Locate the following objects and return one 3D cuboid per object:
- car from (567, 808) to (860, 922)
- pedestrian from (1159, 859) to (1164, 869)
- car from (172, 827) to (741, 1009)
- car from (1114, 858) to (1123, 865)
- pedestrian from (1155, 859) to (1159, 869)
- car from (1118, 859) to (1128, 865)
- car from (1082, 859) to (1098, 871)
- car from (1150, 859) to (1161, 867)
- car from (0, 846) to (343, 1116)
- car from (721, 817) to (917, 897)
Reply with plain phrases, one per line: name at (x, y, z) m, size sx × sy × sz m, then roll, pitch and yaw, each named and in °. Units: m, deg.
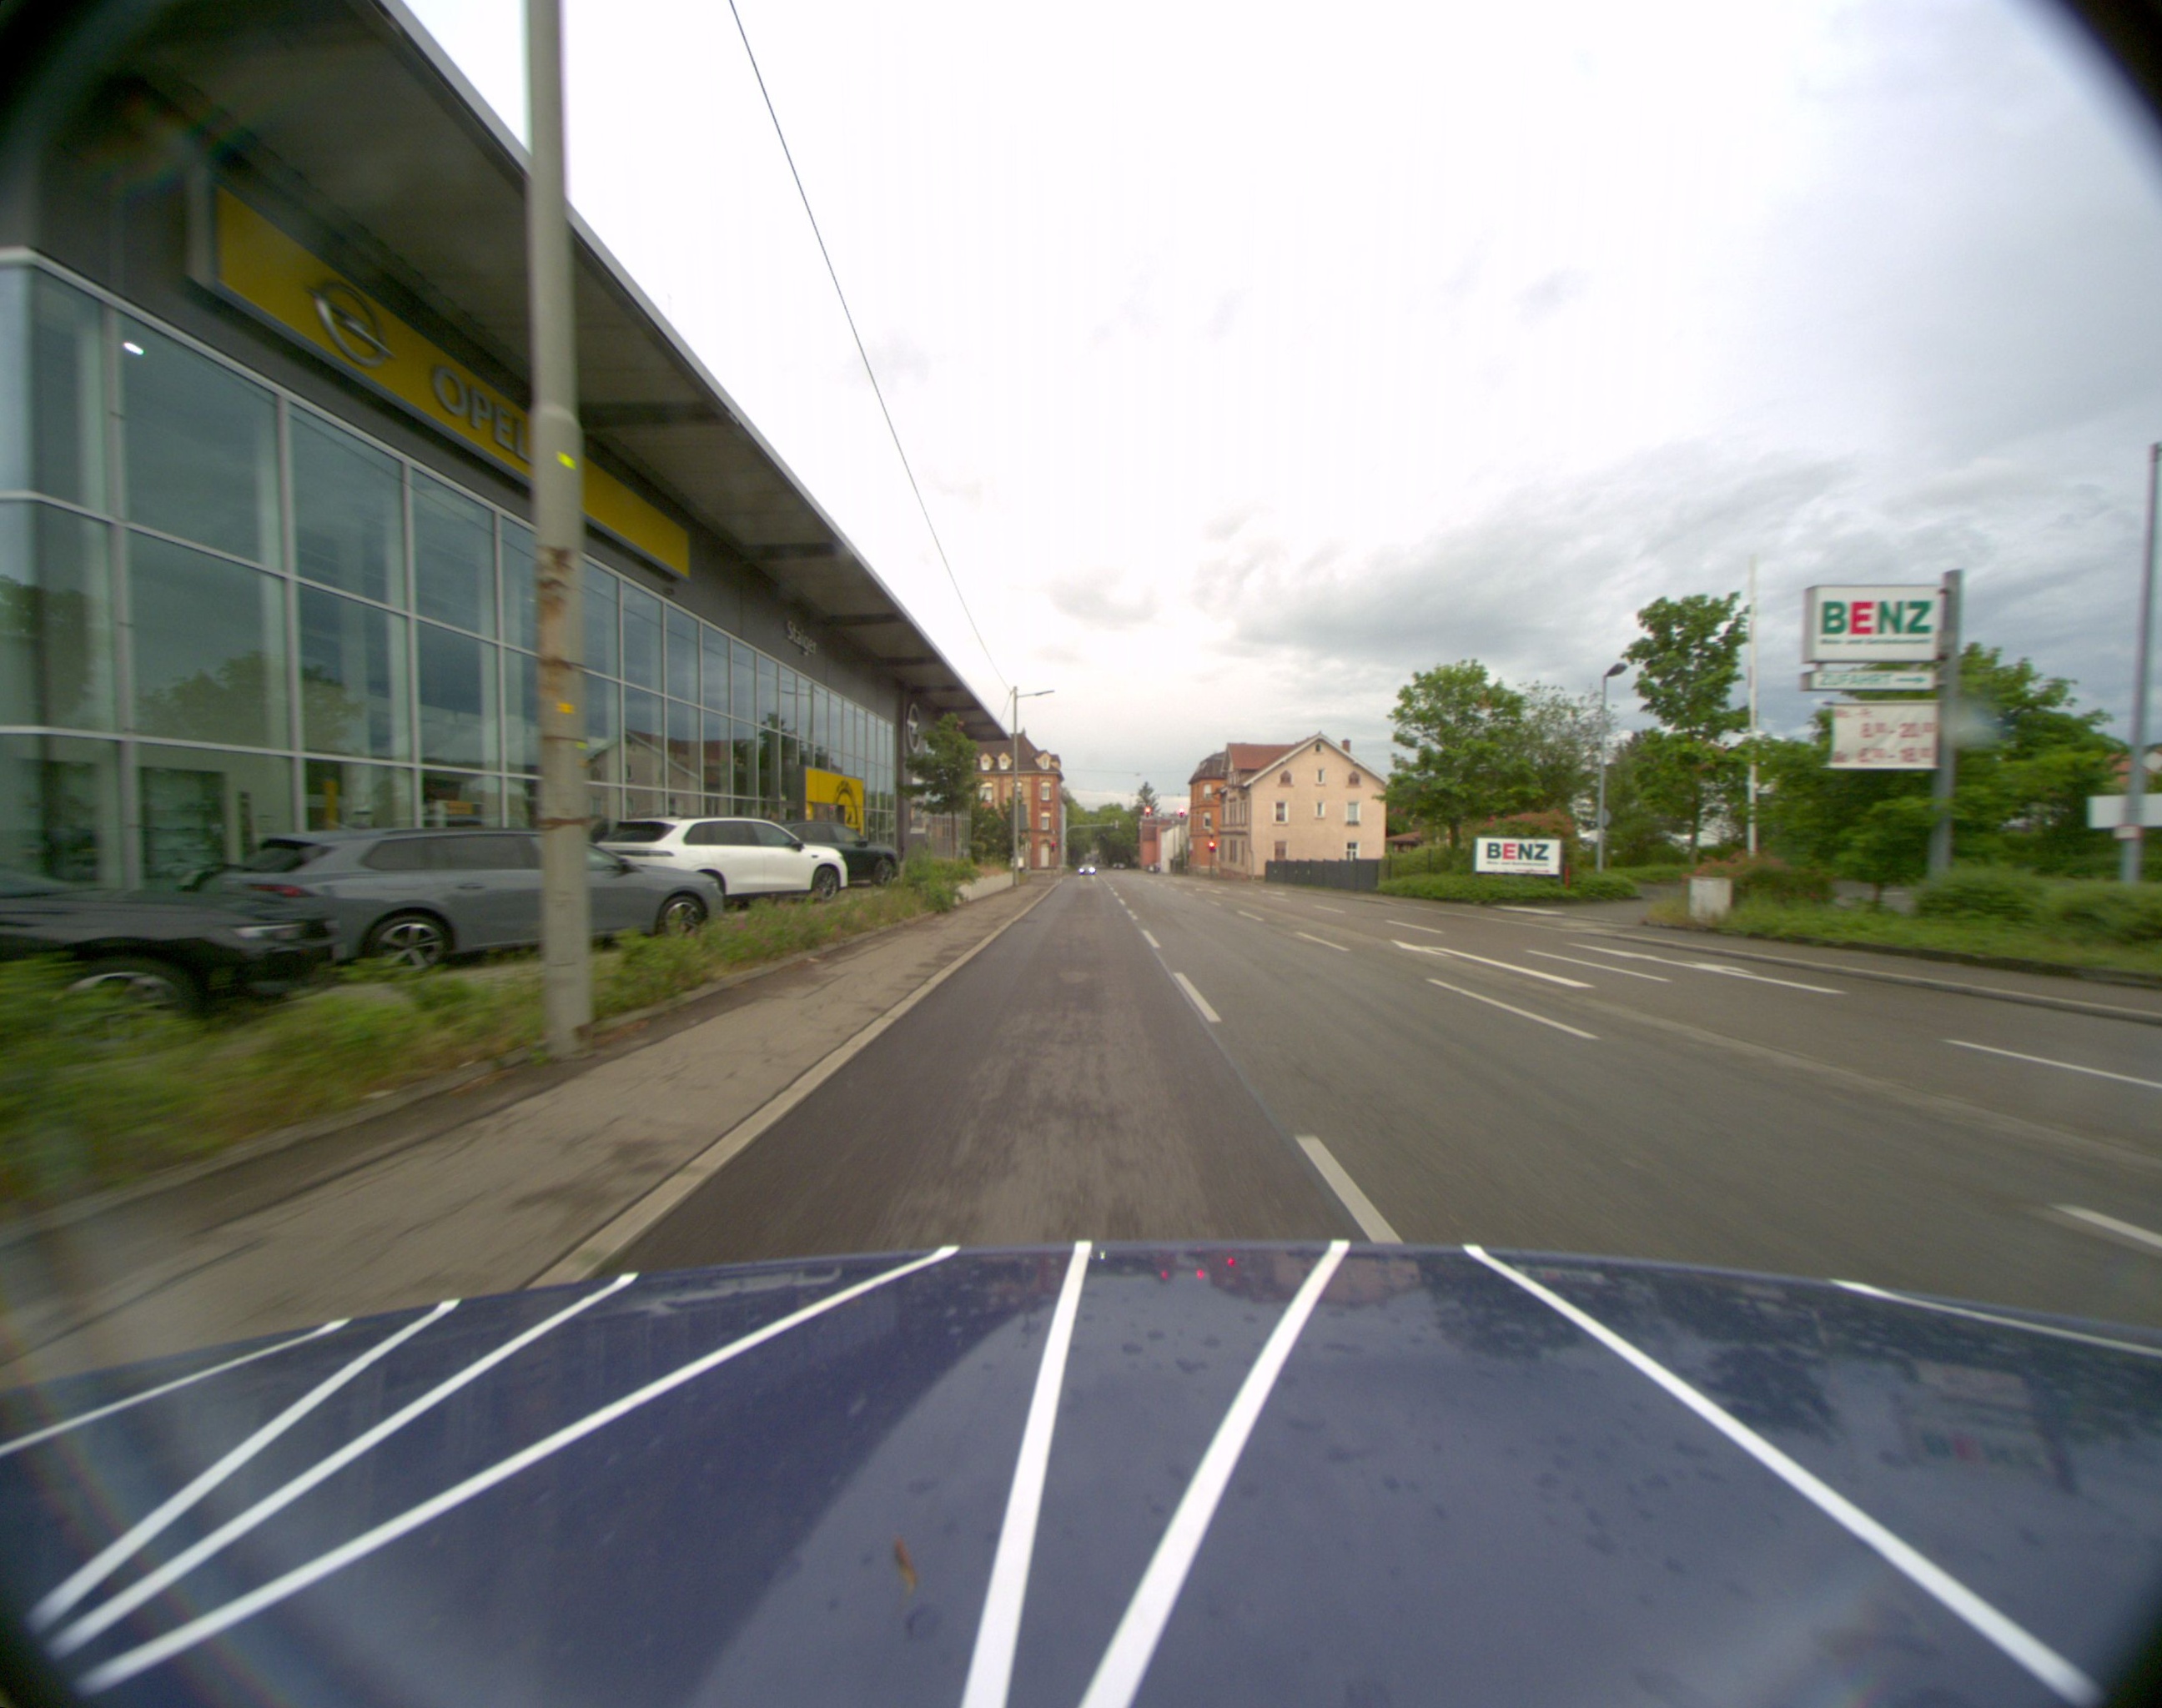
car at (-6.396, 0.114, 13.884) m, size 1.995 × 1.701 × 4.585 m, roll 2°, pitch 2°, yaw 24°
pedestrian at (13.157, 1.645, 124.136) m, size 0.641 × 1.696 × 0.911 m, roll 0°, pitch 0°, yaw 2°
car at (-6.481, 0.483, 8.596) m, size 1.910 × 1.446 × 4.580 m, roll 2°, pitch 2°, yaw 29°
car at (9.142, 1.785, 186.402) m, size 1.816 × 1.537 × 4.198 m, roll 3°, pitch 0°, yaw 1°
pedestrian at (12.372, 1.600, 124.112) m, size 0.641 × 1.696 × 0.911 m, roll 0°, pitch 0°, yaw 2°
car at (9.597, 1.844, 175.048) m, size 1.789 × 1.402 × 4.197 m, roll 2°, pitch 0°, yaw -2°
car at (1.127, 1.337, 94.182) m, size 1.842 × 1.403 × 4.000 m, roll 0°, pitch 0°, yaw 1°
car at (14.025, 1.724, 143.079) m, size 1.749 × 1.499 × 4.178 m, roll 0°, pitch 0°, yaw 1°
car at (-7.360, 0.697, 4.261) m, size 4.527 × 1.446 × 1.910 m, roll 0°, pitch 2°, yaw -42°
car at (-6.312, 0.020, 18.870) m, size 1.994 × 1.701 × 4.436 m, roll 2°, pitch 2°, yaw 27°
